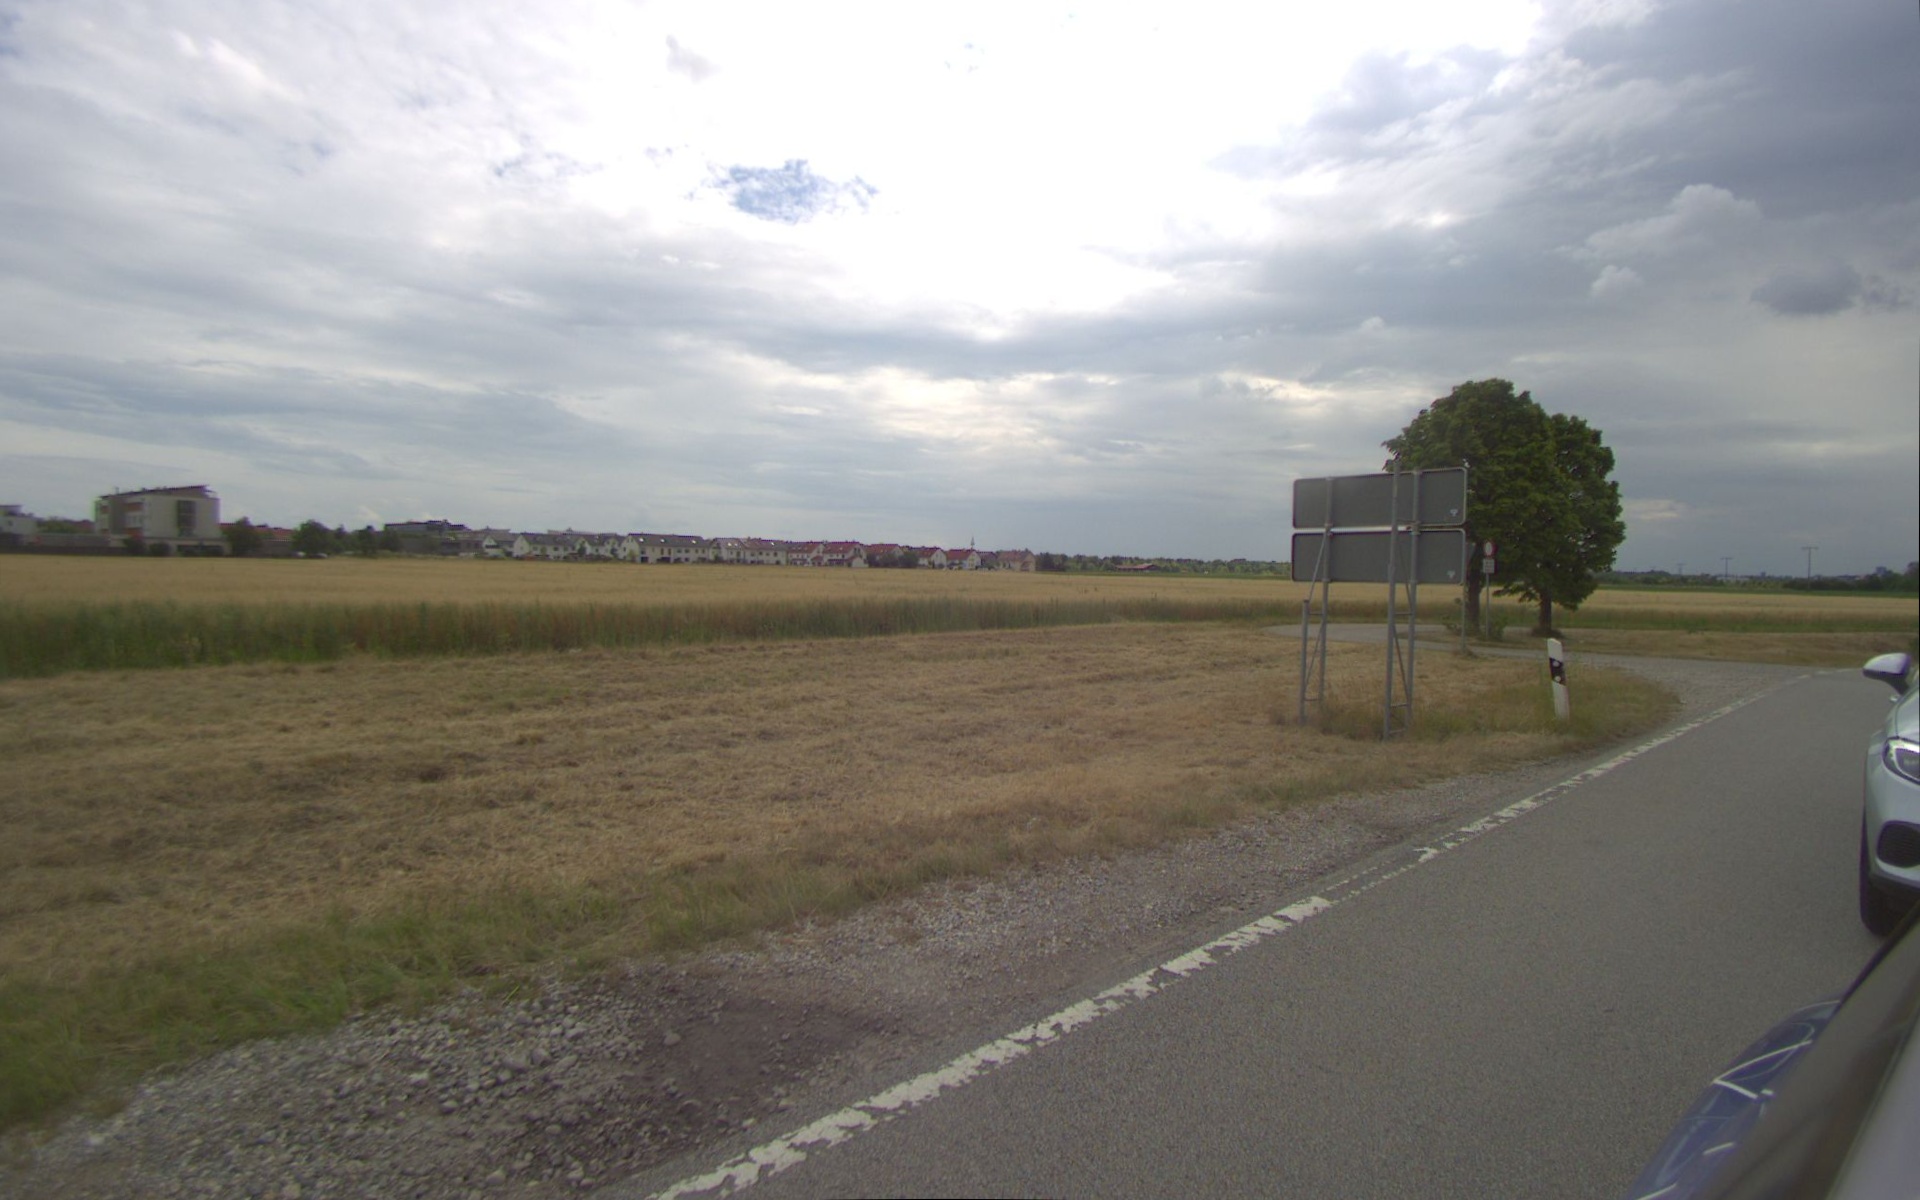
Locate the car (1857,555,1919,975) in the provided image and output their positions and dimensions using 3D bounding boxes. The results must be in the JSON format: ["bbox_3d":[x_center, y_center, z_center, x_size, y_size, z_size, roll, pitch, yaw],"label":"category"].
[{"bbox_3d":[5.746,0.647,4.864,4.377,1.606,1.833,0,1,-44],"label":"car"}]
